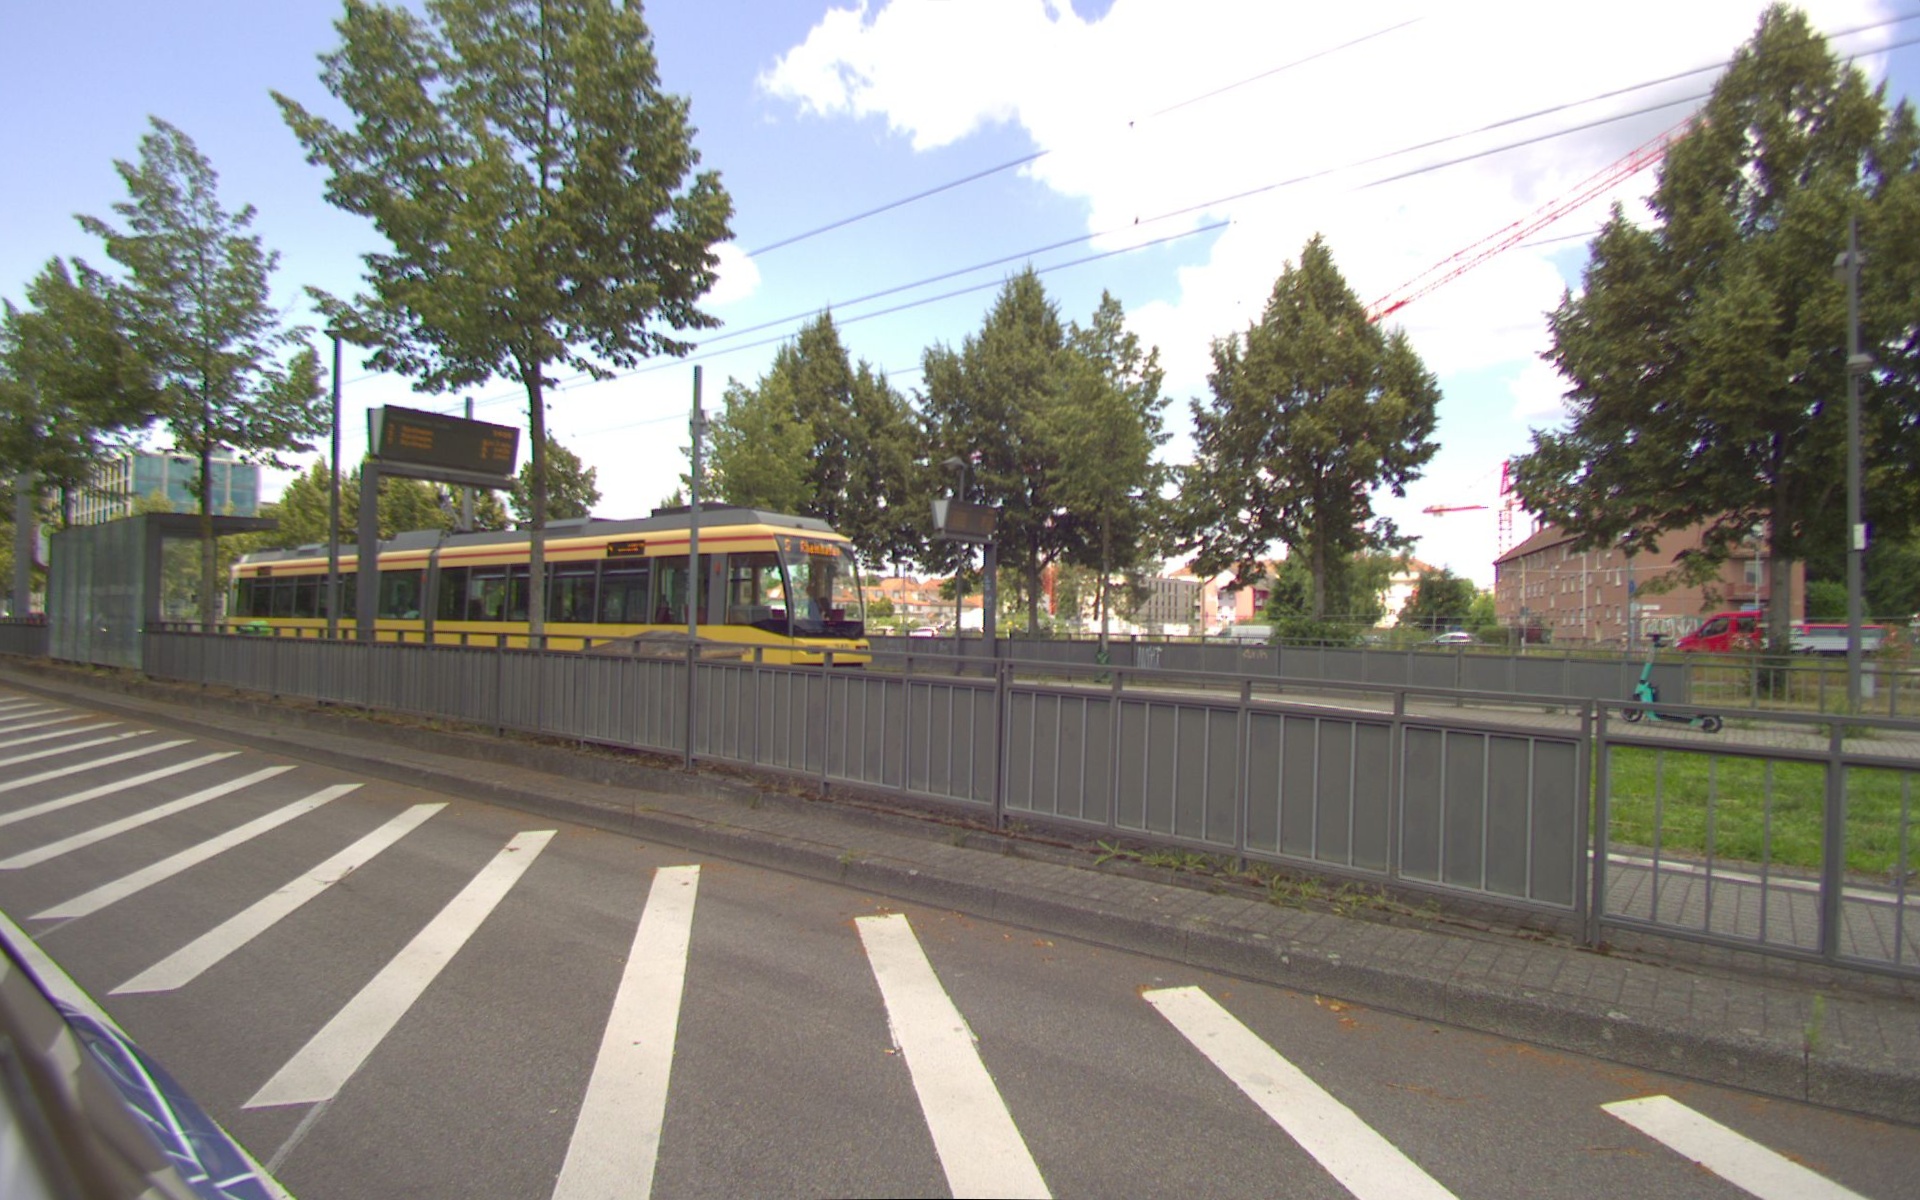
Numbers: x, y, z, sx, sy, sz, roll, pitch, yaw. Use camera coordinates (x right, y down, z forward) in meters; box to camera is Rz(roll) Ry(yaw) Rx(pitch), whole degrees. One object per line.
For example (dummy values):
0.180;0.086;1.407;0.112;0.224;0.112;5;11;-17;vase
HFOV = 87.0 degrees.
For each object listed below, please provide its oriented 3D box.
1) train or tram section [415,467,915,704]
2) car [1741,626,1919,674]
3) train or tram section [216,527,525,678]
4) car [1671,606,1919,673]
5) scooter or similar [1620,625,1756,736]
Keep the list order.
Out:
-6.965;-0.082;21.374;13.457;3.768;2.815;-1;-2;38;train or tram section
35.683;2.009;41.625;2.052;1.866;5.199;1;-2;-33;car
-18.046;0.222;30.077;14.643;3.666;2.661;-1;-2;38;train or tram section
30.452;1.423;37.046;2.353;2.214;6.859;1;-2;-28;car
9.415;1.003;13.129;0.412;1.312;1.350;1;0;-31;scooter or similar
